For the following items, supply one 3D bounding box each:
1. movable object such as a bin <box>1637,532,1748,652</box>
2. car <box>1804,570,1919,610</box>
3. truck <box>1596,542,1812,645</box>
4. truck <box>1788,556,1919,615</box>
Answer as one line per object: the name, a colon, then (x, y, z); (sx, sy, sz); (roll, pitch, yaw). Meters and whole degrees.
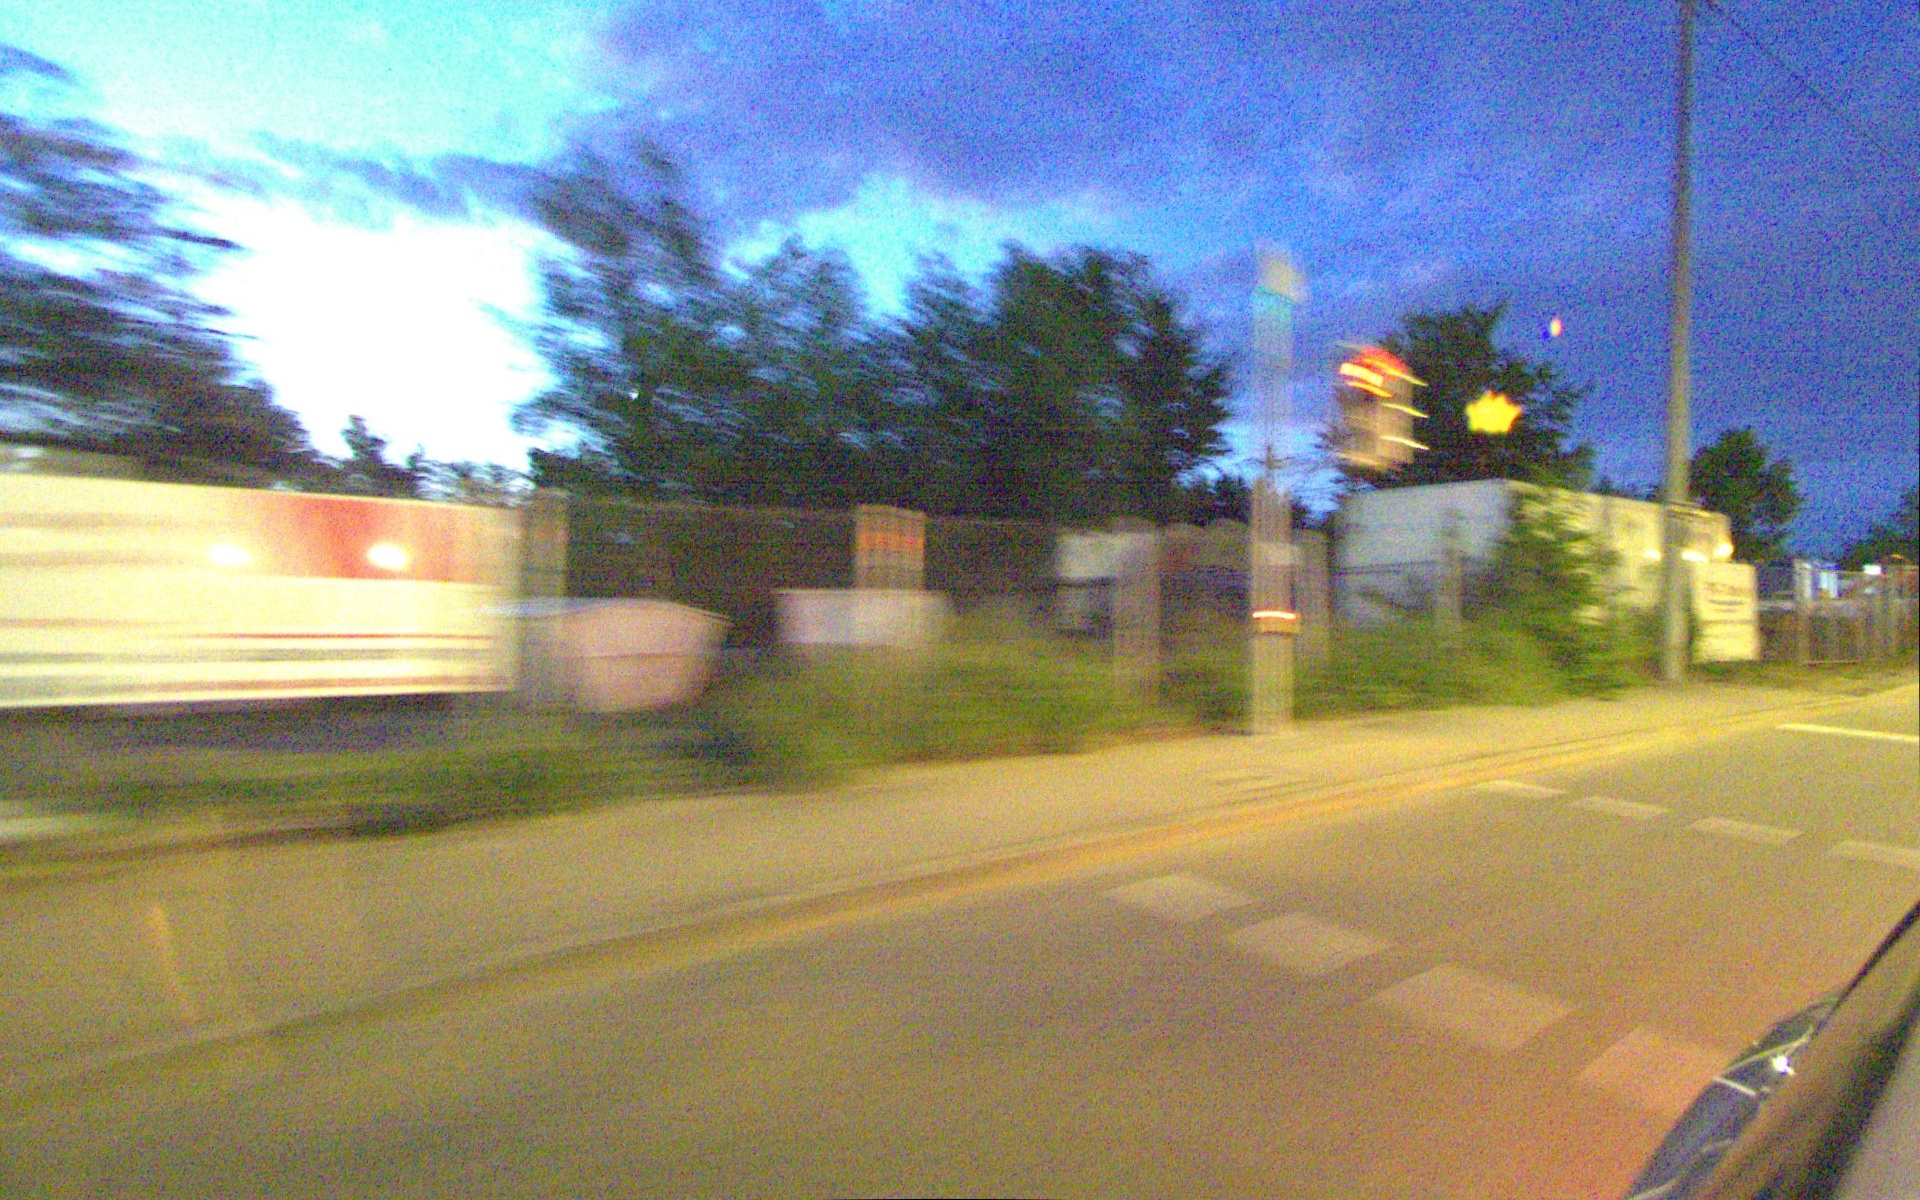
movable object such as a bin: (15.560, -0.163, 21.494); (1.680, 2.414, 1.590); (-1, -1, 45)
car: (44.183, -0.465, 48.710); (1.950, 1.859, 5.094); (0, 0, -31)
truck: (19.944, -0.157, 26.981); (7.172, 2.454, 2.191); (0, -1, -32)
truck: (42.297, -0.655, 46.944); (2.425, 2.632, 5.548); (0, 0, -35)
